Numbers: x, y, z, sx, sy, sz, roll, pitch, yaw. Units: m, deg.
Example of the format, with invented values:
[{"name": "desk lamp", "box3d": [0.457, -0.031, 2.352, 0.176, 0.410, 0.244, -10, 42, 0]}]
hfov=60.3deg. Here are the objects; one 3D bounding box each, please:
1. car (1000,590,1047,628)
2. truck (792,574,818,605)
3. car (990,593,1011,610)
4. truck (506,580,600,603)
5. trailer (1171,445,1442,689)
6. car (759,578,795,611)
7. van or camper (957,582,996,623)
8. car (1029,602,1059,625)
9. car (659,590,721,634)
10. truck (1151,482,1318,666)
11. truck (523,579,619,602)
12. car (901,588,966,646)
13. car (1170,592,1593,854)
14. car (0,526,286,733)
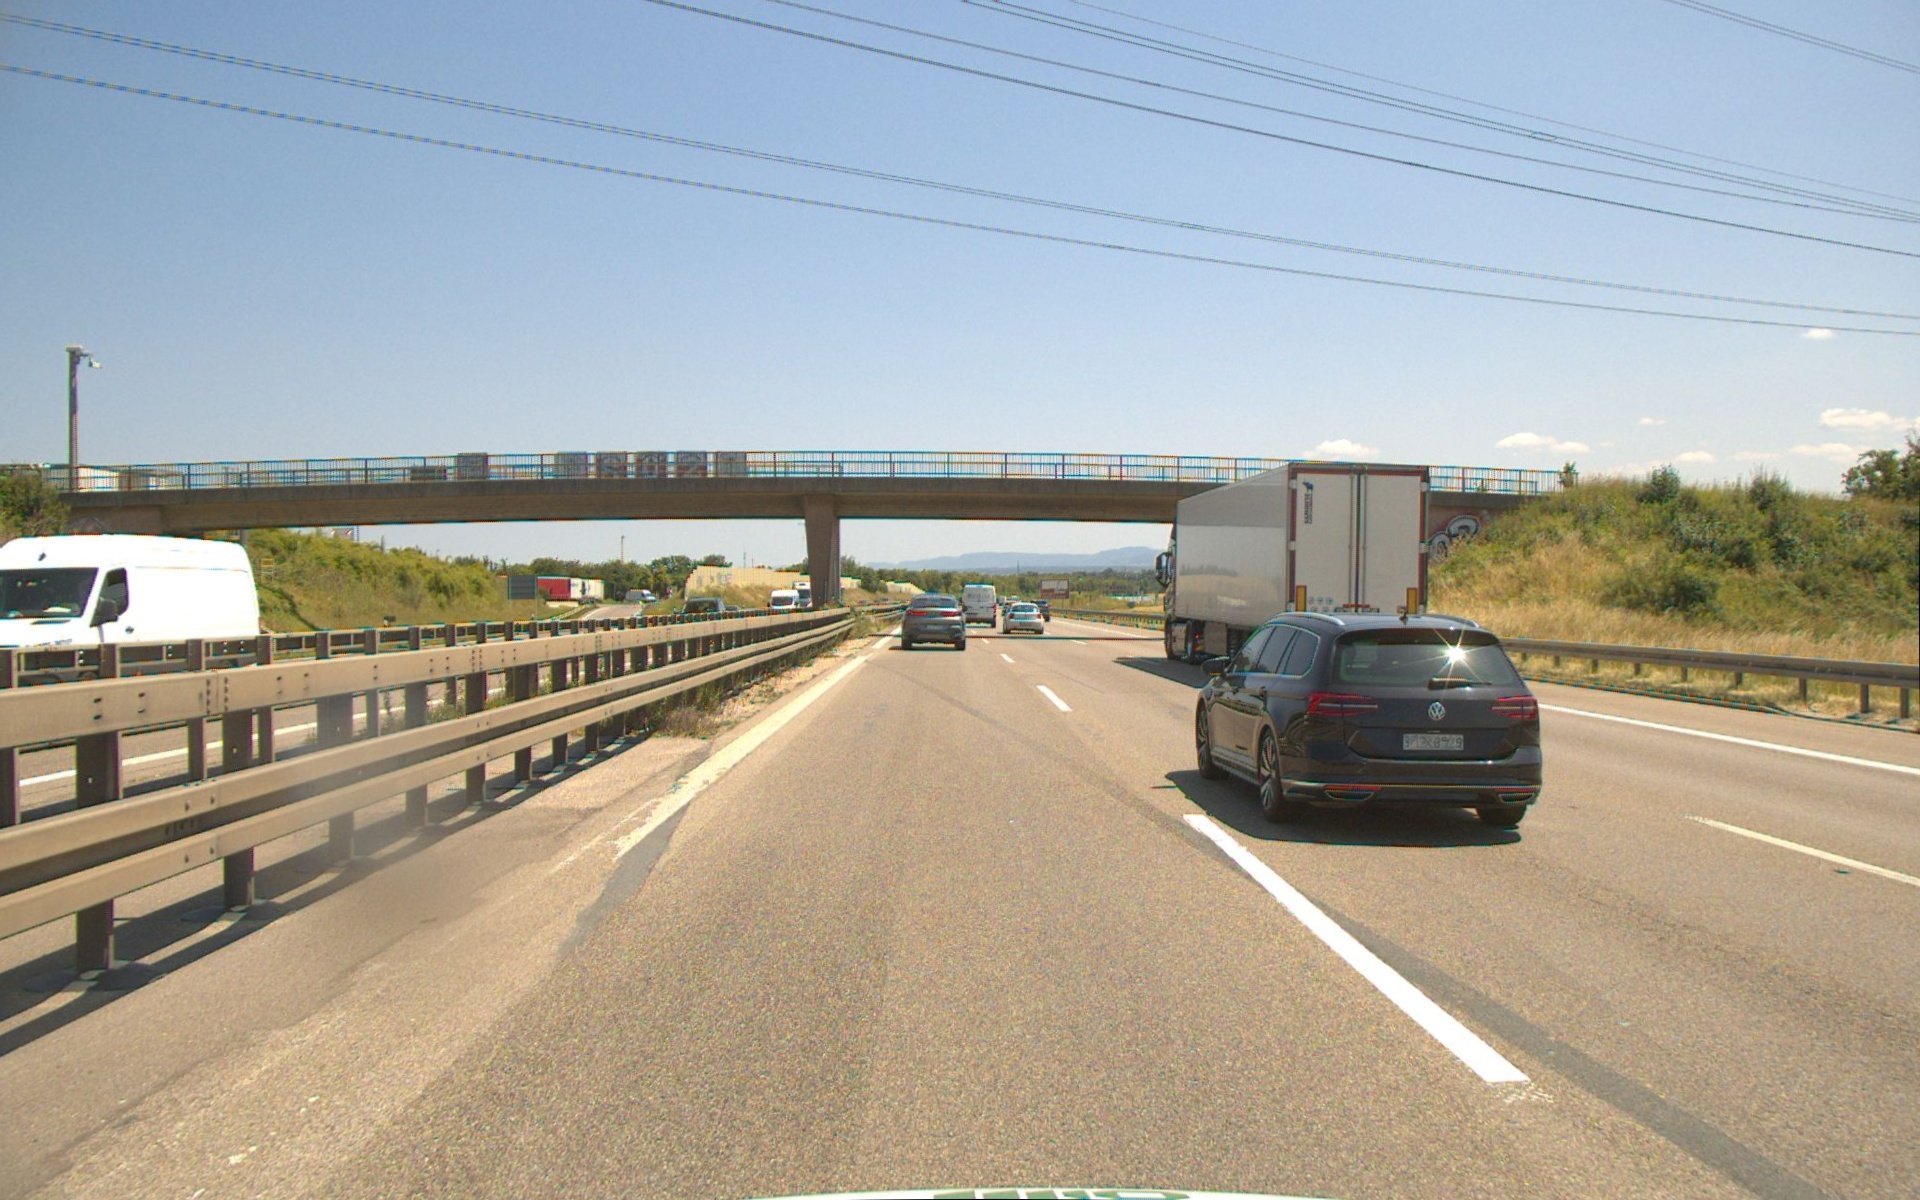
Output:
[{"name": "car", "box3d": [2.932, 0.411, 77.285, 1.953, 1.712, 3.999, 1, 0, -1]}, {"name": "truck", "box3d": [-19.494, -1.329, 207.996, 2.684, 3.743, 5.897, 1, 0, -1]}, {"name": "car", "box3d": [4.126, 0.127, 167.998, 1.953, 1.712, 3.999, 1, 0, -1]}, {"name": "truck", "box3d": [-60.555, -1.187, 246.639, 14.349, 3.194, 2.618, 1, 0, -45]}, {"name": "trailer", "box3d": [7.000, -0.603, 36.075, 2.883, 4.271, 13.594, 1, 0, -1]}, {"name": "car", "box3d": [-14.495, -0.456, 131.265, 2.155, 2.553, 6.329, 1, 0, -1]}, {"name": "van or camper", "box3d": [0.900, 0.111, 94.015, 2.068, 2.250, 5.265, 1, 0, -1]}, {"name": "car", "box3d": [6.327, 1.013, 124.858, 1.953, 1.712, 3.999, 1, 0, -1]}, {"name": "car", "box3d": [-10.364, 0.429, 63.751, 1.801, 1.628, 3.999, 0, 0, -1]}, {"name": "truck", "box3d": [6.928, -0.623, 42.907, 2.918, 4.301, 7.686, 1, 0, -1]}, {"name": "truck", "box3d": [-56.497, -1.339, 240.603, 14.349, 3.194, 2.618, 1, 0, -45]}, {"name": "car", "box3d": [-0.842, 0.501, 50.756, 1.814, 1.693, 3.732, 1, 0, -4]}, {"name": "car", "box3d": [2.939, 0.757, 12.752, 1.894, 1.602, 4.933, 1, 0, -1]}, {"name": "car", "box3d": [-12.693, 0.353, 24.977, 1.991, 2.651, 7.599, 1, 0, -1]}]
